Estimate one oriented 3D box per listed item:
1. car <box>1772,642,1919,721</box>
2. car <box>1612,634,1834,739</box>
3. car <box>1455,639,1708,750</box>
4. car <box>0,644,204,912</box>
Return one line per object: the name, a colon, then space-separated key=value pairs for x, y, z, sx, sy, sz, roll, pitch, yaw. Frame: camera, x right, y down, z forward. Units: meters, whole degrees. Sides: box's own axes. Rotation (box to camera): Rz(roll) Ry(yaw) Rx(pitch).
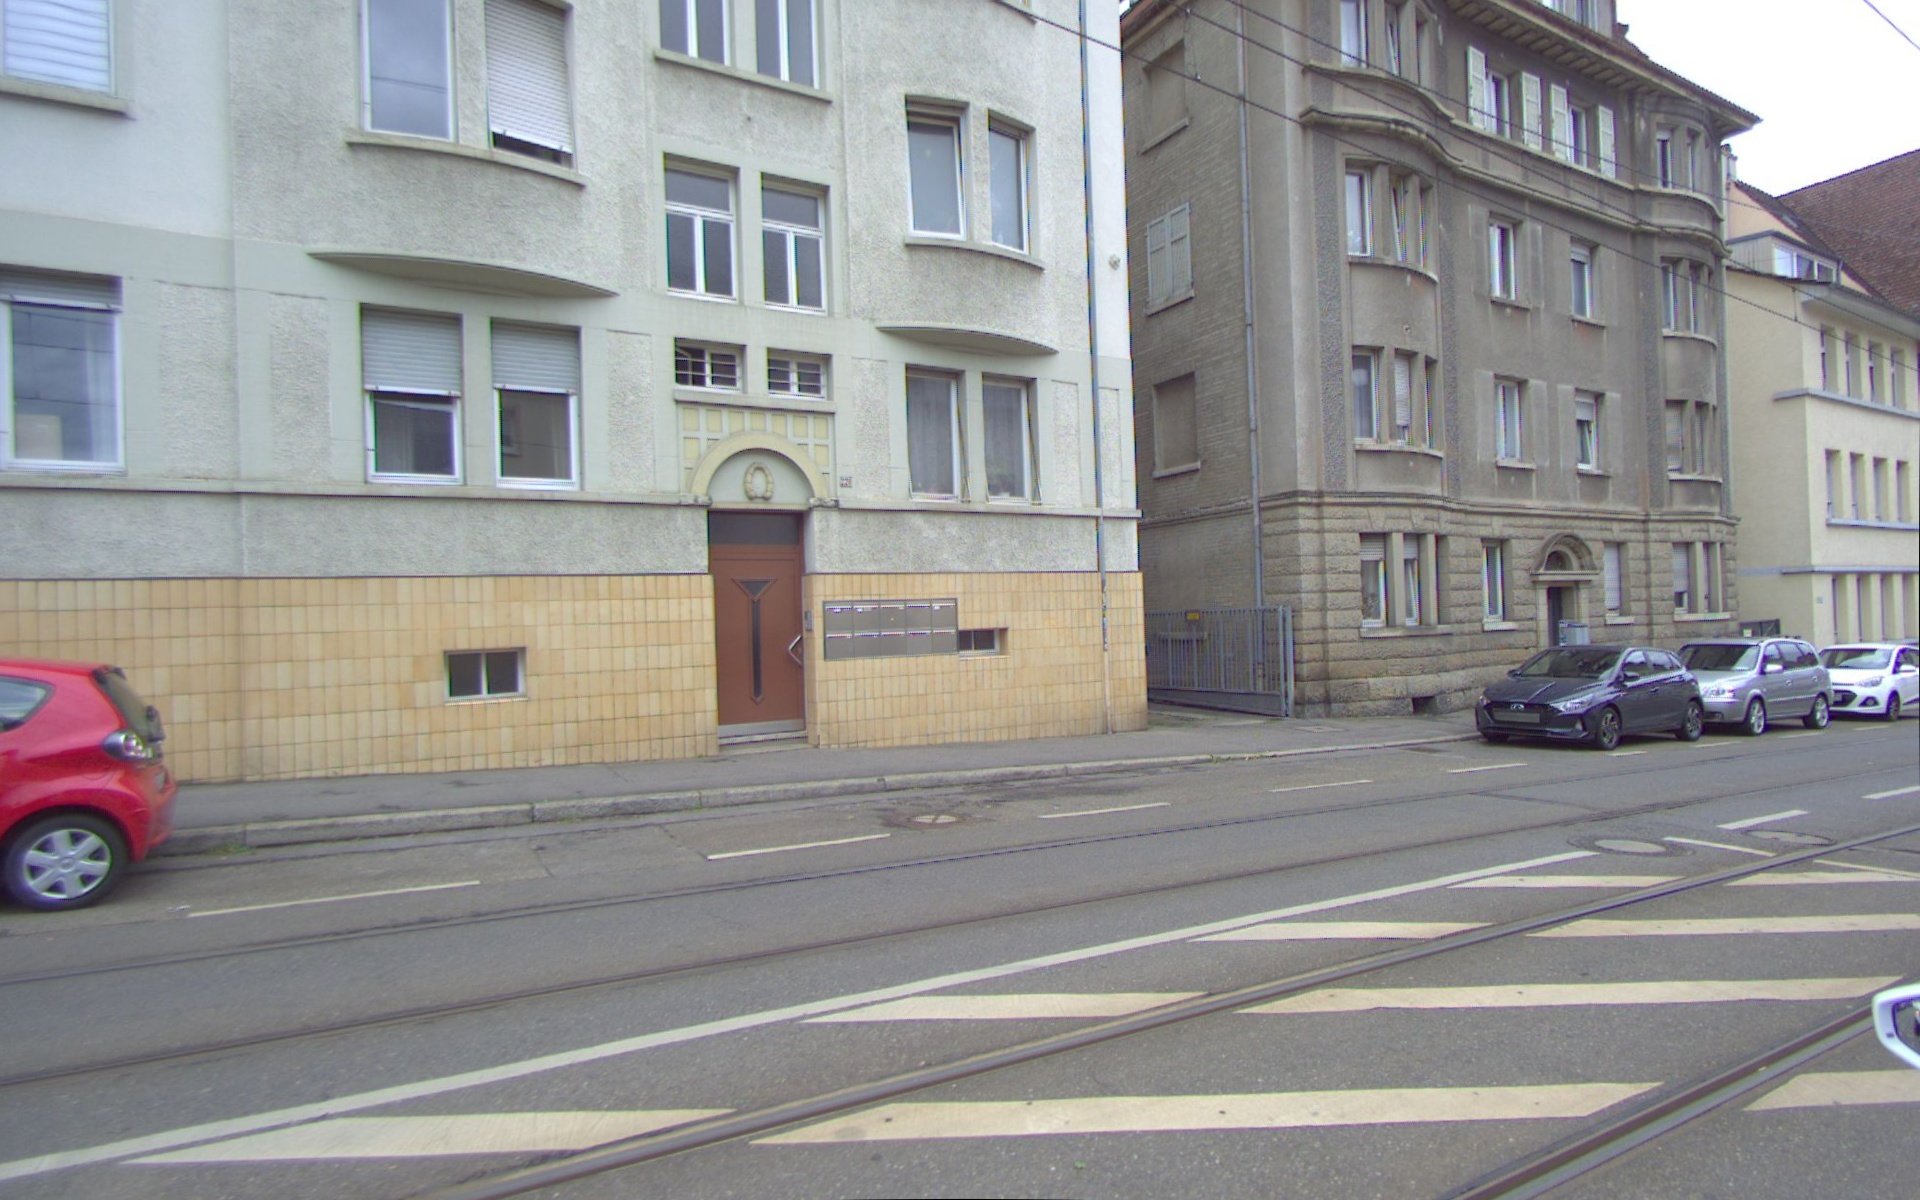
car: x=18.393 y=1.636 z=20.504 sx=3.641 sy=1.482 sz=1.614 roll=2 pitch=-4 yaw=-30
car: x=13.311 y=1.429 z=17.463 sx=4.302 sy=1.625 sz=1.613 roll=1 pitch=-3 yaw=-32
car: x=9.394 y=1.375 z=15.118 sx=3.988 sy=1.482 sz=1.613 roll=3 pitch=-4 yaw=-32
car: x=-6.669 y=0.981 z=5.654 sx=3.708 sy=1.482 sz=1.611 roll=3 pitch=-4 yaw=-34
